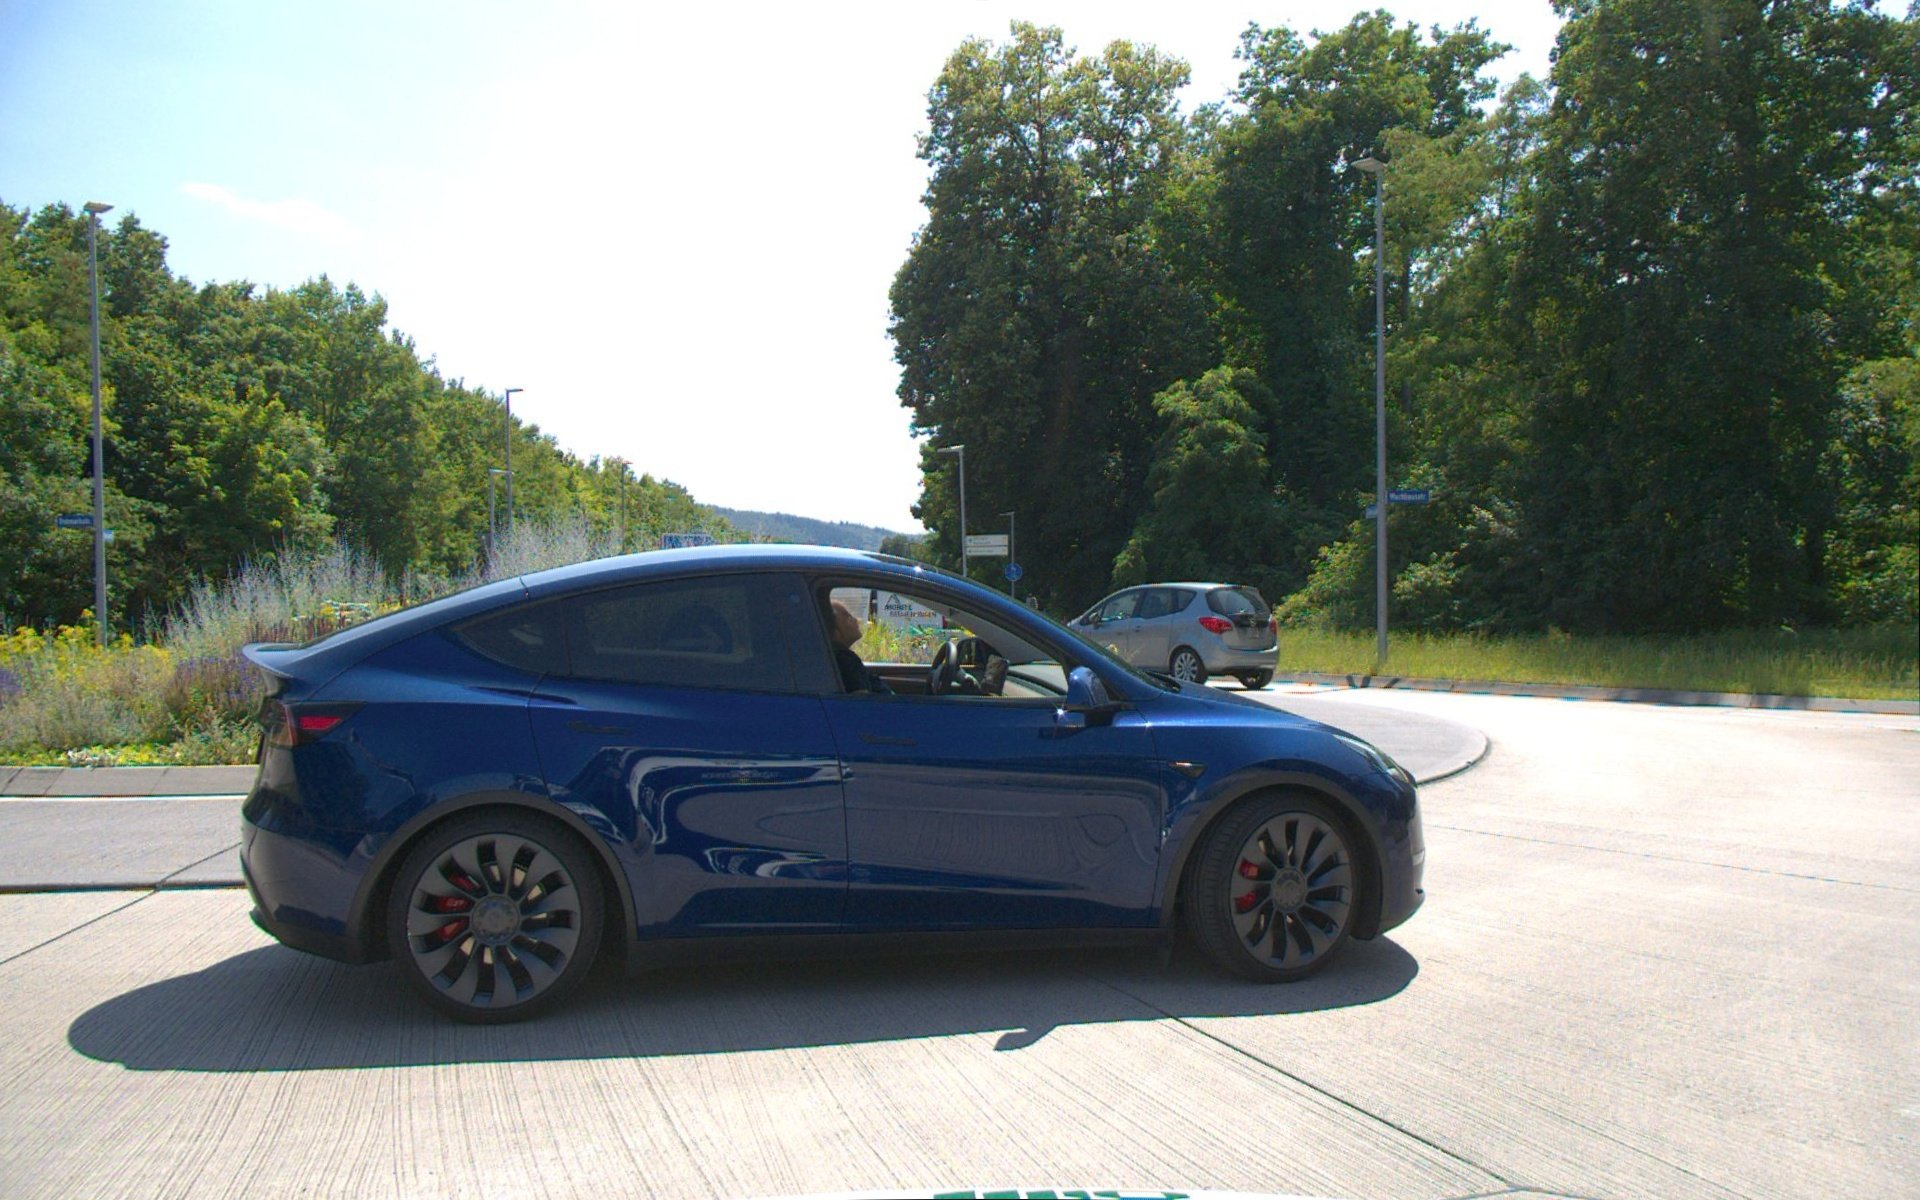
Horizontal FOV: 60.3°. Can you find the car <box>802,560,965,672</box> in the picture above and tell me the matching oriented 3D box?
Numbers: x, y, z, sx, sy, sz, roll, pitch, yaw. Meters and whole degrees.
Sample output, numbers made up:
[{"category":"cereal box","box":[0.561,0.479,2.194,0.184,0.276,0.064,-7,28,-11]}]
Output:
[{"category":"car","box":[-1.840,0.359,37.684,2.137,2.357,4.945,1,-1,-23]}]

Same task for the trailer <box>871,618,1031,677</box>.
[{"category":"trailer","box":[-0.235,0.938,33.860,2.095,1.116,3.327,0,-1,-25]}]

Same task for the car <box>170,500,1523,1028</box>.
[{"category":"car","box":[-0.384,0.499,6.661,4.656,1.668,1.995,-1,0,-11]}]

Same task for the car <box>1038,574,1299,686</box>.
[{"category":"car","box":[3.236,0.456,26.331,1.773,1.635,4.069,1,-1,-39]}]
